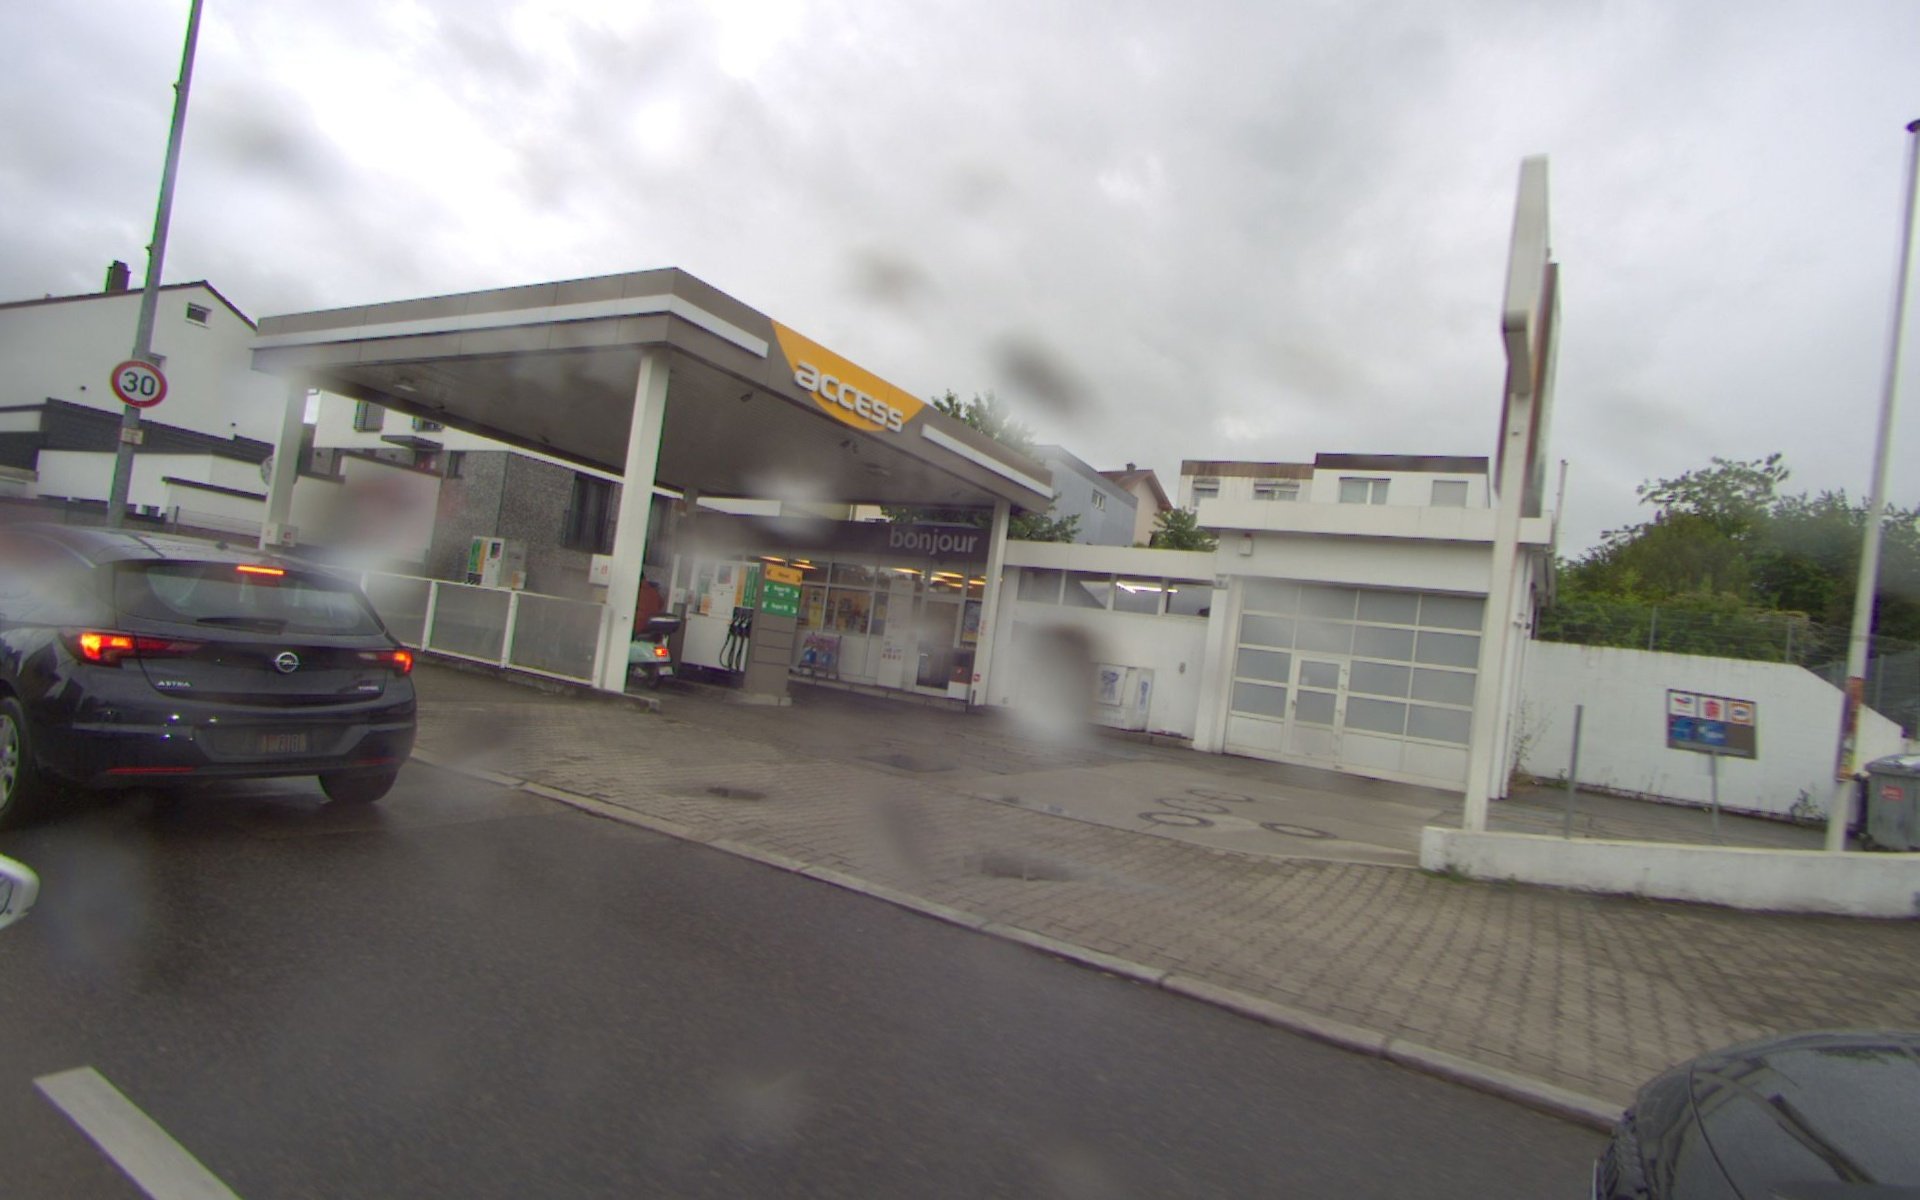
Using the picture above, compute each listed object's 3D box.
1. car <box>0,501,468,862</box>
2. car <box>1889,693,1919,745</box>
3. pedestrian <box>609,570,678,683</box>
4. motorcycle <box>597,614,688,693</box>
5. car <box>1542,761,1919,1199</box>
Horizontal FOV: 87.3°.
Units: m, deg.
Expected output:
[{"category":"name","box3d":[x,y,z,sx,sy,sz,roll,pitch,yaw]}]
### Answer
[{"category":"car","box3d":[-4.995,0.276,5.909,3.932,1.465,1.761,6,-3,30]},{"category":"car","box3d":[30.818,3.806,31.104,1.966,1.493,3.993,4,0,27]},{"category":"pedestrian","box3d":[-4.916,0.418,15.651,0.576,1.674,0.611,5,-2,32]},{"category":"motorcycle","box3d":[-4.934,0.822,15.602,1.368,1.067,0.463,5,-2,32]},{"category":"car","box3d":[3.154,1.234,0.726,4.660,1.440,1.871,5,-3,31]}]
